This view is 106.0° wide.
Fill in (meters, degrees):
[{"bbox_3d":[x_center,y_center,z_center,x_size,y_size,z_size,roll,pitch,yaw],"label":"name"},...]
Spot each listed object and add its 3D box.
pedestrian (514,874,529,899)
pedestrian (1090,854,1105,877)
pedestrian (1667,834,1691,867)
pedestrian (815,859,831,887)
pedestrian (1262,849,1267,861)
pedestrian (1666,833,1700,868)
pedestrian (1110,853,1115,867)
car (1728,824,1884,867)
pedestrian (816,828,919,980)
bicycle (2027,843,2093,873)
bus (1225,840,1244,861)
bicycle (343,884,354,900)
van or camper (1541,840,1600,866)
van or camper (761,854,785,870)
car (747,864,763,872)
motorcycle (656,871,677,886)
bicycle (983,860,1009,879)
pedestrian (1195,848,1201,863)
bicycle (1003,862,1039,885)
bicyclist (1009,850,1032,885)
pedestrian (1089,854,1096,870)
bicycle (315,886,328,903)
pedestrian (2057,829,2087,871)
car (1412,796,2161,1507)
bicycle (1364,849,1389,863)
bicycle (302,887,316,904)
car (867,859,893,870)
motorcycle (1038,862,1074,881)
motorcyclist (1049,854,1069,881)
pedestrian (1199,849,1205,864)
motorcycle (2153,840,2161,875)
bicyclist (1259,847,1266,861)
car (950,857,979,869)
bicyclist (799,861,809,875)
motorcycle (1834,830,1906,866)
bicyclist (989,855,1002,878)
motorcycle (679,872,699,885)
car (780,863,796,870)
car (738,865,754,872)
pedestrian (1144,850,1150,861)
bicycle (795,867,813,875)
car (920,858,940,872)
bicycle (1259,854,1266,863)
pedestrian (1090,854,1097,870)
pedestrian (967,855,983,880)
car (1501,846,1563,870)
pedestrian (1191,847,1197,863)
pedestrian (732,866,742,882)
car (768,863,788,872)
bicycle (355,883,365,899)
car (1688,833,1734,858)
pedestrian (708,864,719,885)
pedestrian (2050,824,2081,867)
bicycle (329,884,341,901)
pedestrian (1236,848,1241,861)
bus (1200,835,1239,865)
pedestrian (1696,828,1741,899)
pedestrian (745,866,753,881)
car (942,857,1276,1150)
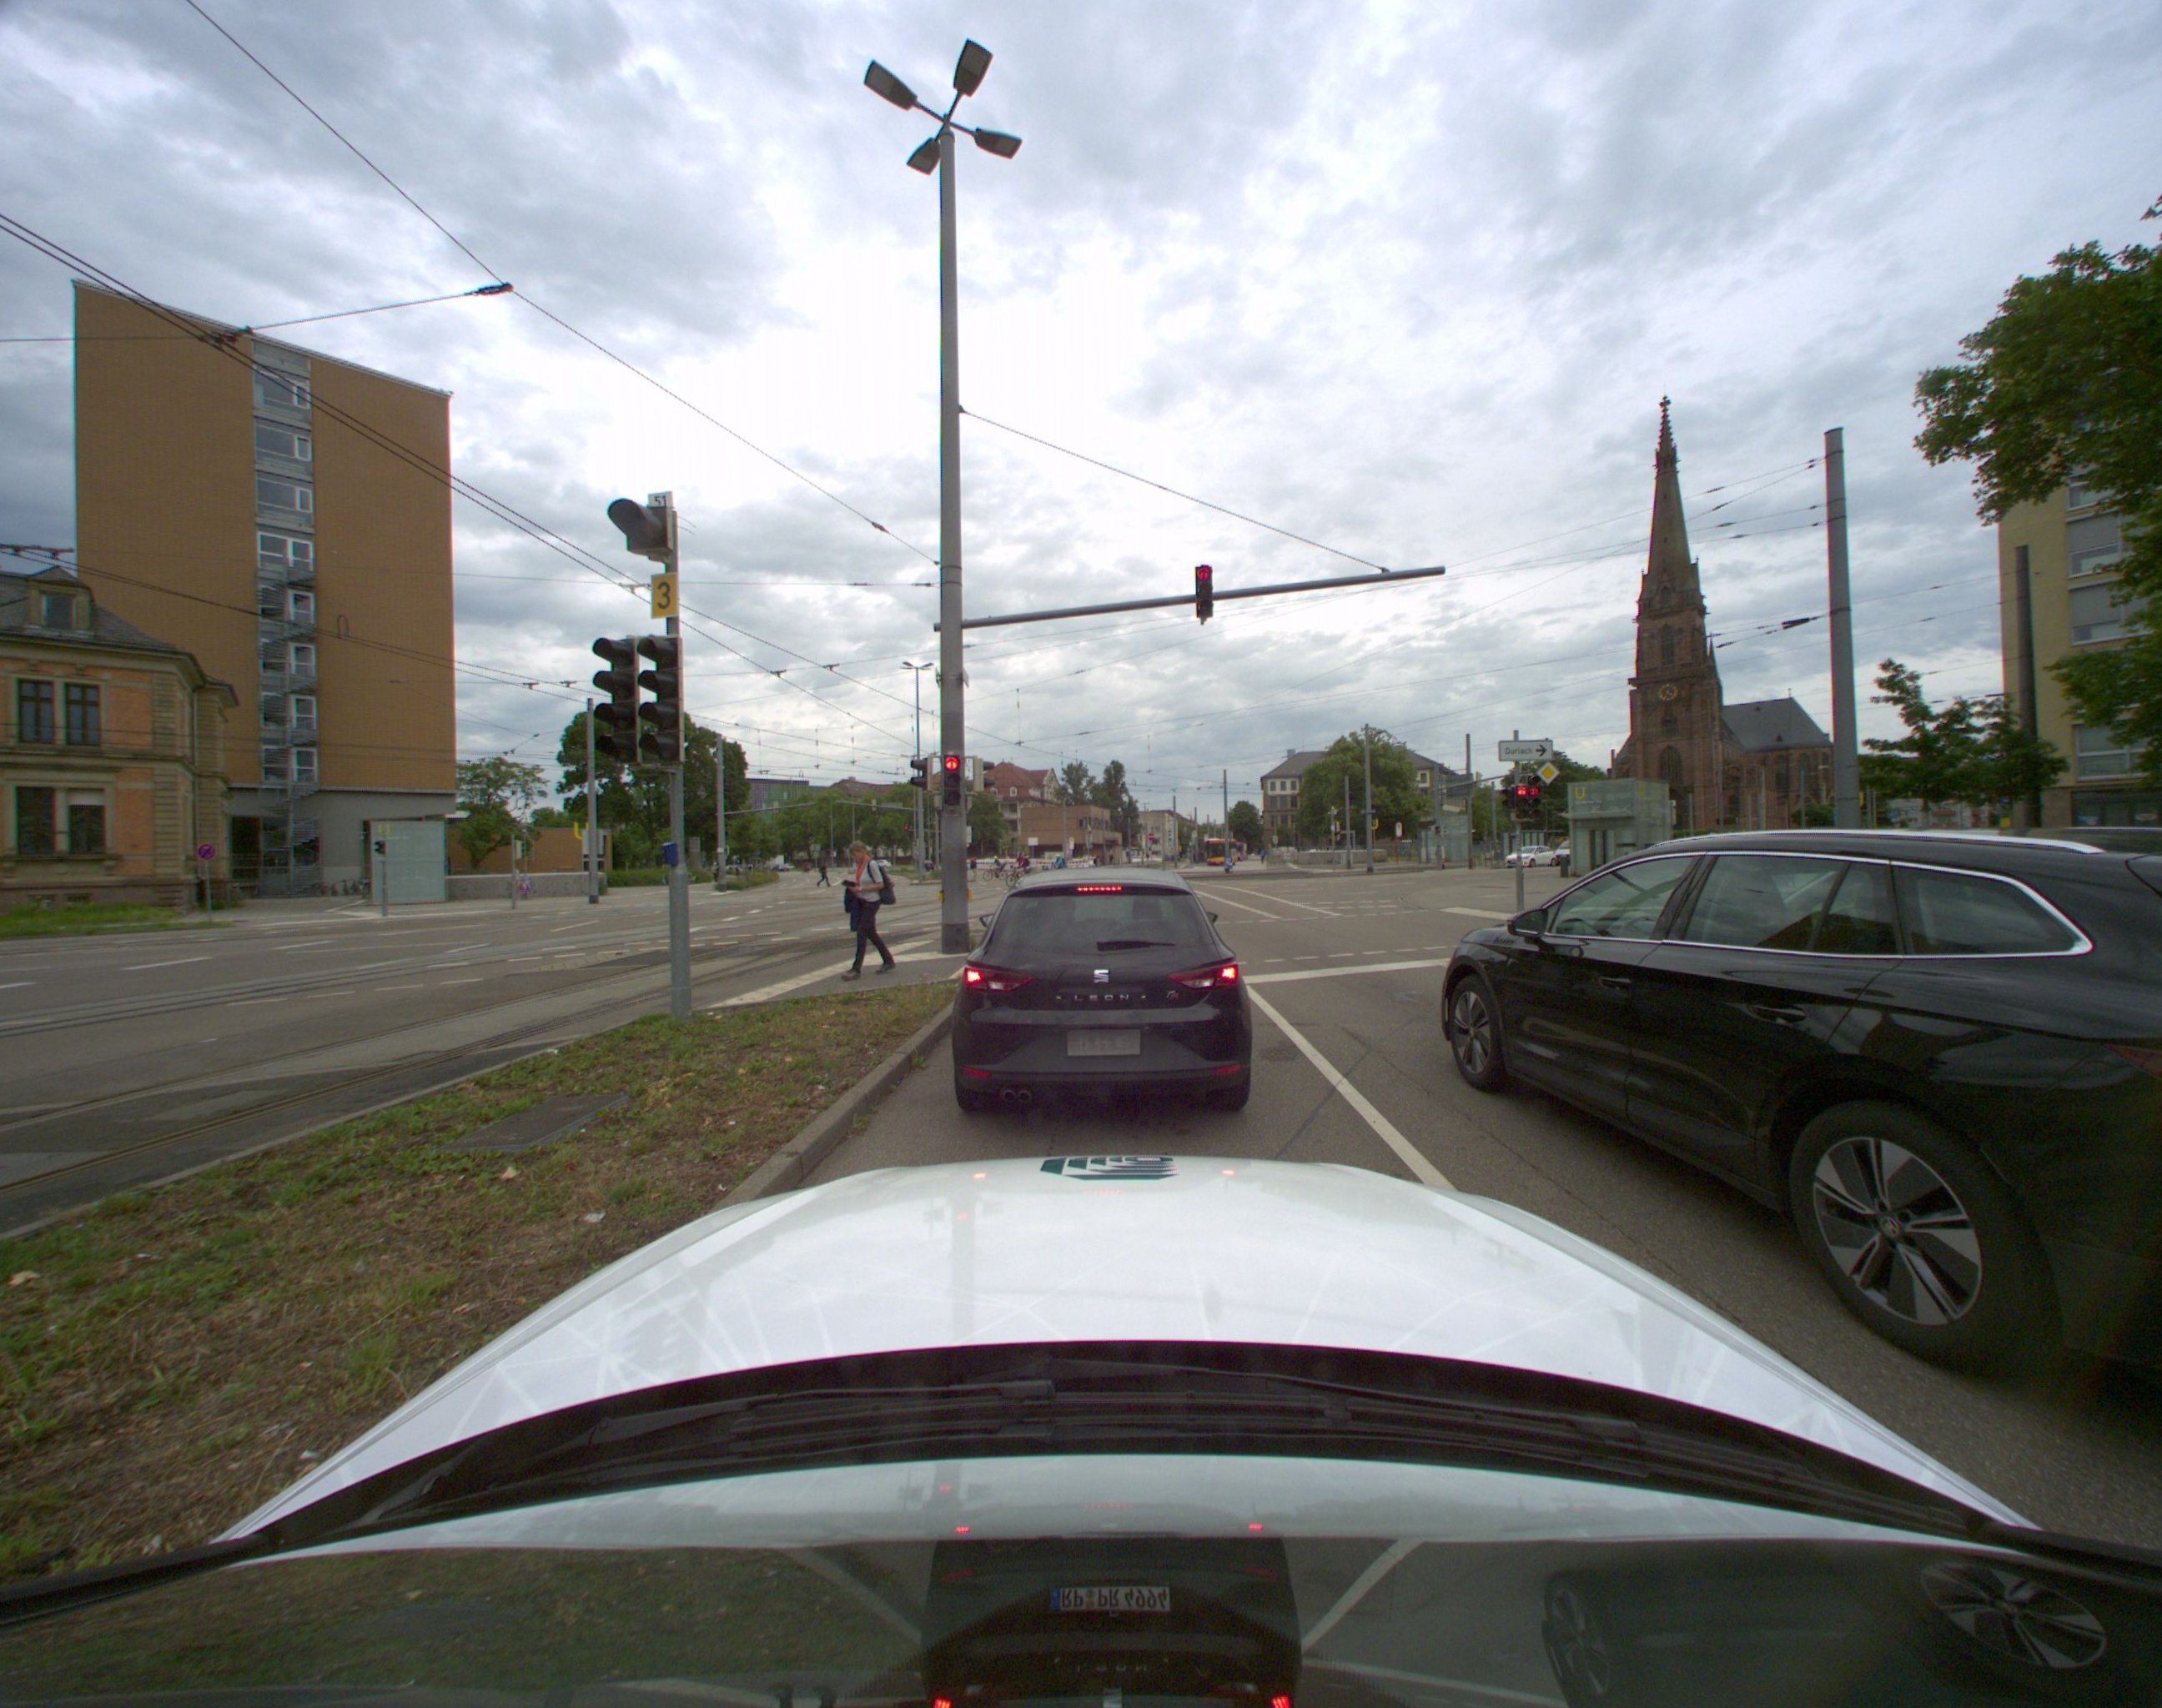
[{"bbox_3d":[-30.724,1.795,44.730,0.492,1.336,0.577,-2,-1,41],"label":"pedestrian"},{"bbox_3d":[1.411,0.975,69.565,0.692,1.934,1.037,-2,0,40],"label":"pedestrian"},{"bbox_3d":[29.891,-0.175,40.694,0.875,1.638,0.631,-1,0,-32],"label":"pedestrian"},{"bbox_3d":[-18.822,1.360,59.470,1.023,2.013,0.841,-1,0,-18],"label":"pedestrian"},{"bbox_3d":[30.585,0.226,135.454,0.659,2.013,0.692,-2,0,2],"label":"pedestrian"},{"bbox_3d":[31.087,-0.174,42.069,0.950,1.797,1.076,-1,-2,-33],"label":"pedestrian"},{"bbox_3d":[4.374,0.845,113.406,0.618,1.918,0.711,-2,0,5],"label":"pedestrian"},{"bbox_3d":[37.659,-0.399,42.518,5.672,2.014,2.038,-2,-2,19],"label":"car"},{"bbox_3d":[-2.834,0.628,10.822,1.110,1.907,0.727,0,-1,-41],"label":"pedestrian"},{"bbox_3d":[31.507,0.135,26.231,0.596,0.917,1.253,-1,0,-28],"label":"bicycle"},{"bbox_3d":[25.734,-0.601,136.285,2.635,3.283,11.034,-2,0,13],"label":"bus"},{"bbox_3d":[-50.652,2.625,56.285,0.512,1.049,1.411,-1,0,-41],"label":"bicycle"},{"bbox_3d":[35.274,-0.096,58.680,4.321,1.742,1.979,-1,-2,-34],"label":"van or camper"},{"bbox_3d":[-62.824,1.727,165.995,5.434,3.124,2.410,-2,0,43],"label":"van or camper"},{"bbox_3d":[-68.751,2.937,171.595,1.792,1.464,3.951,-1,0,-44],"label":"car"},{"bbox_3d":[-35.445,2.080,69.602,1.481,1.268,0.505,-1,0,-44],"label":"motorcycle"},{"bbox_3d":[-6.238,1.123,59.780,1.733,1.321,0.642,-1,0,-16],"label":"bicycle"},{"bbox_3d":[15.161,0.238,105.478,0.618,1.918,0.711,-2,0,5],"label":"pedestrian"},{"bbox_3d":[-3.339,1.088,45.504,0.767,1.184,2.045,-2,0,37],"label":"bicycle"},{"bbox_3d":[-3.382,0.767,45.470,0.768,1.898,1.003,-2,0,37],"label":"bicyclist"},{"bbox_3d":[1.351,0.933,96.730,0.704,1.918,0.625,-2,0,9],"label":"pedestrian"},{"bbox_3d":[-51.640,2.774,55.364,0.575,1.106,1.411,-1,0,-41],"label":"bicycle"},{"bbox_3d":[39.703,-0.162,32.636,0.875,1.638,0.631,-1,0,-32],"label":"pedestrian"},{"bbox_3d":[3.323,0.651,3.771,1.771,1.597,4.510,-1,0,1],"label":"car"},{"bbox_3d":[29.658,0.175,81.726,2.248,1.331,0.709,-2,-2,9],"label":"bicycle"},{"bbox_3d":[-52.087,2.773,54.958,0.575,1.106,1.411,-1,0,-41],"label":"bicycle"},{"bbox_3d":[-35.019,1.829,141.900,3.965,1.772,1.720,-2,0,7],"label":"car"},{"bbox_3d":[-1.574,1.117,51.386,2.149,1.139,0.737,-1,0,-31],"label":"motorcycle"},{"bbox_3d":[-1.413,0.857,51.483,0.984,1.649,0.742,-1,-1,-31],"label":"motorcyclist"},{"bbox_3d":[15.544,0.332,104.402,0.617,1.918,0.701,-2,0,11],"label":"pedestrian"},{"bbox_3d":[31.796,0.080,23.537,1.020,0.997,0.863,-1,0,-43],"label":"motorcycle"},{"bbox_3d":[23.713,-0.026,106.341,0.865,1.851,1.052,-2,0,14],"label":"bicyclist"},{"bbox_3d":[-17.691,1.357,123.664,3.970,1.684,2.001,-2,-1,3],"label":"car"},{"bbox_3d":[-40.515,1.998,119.243,0.929,2.013,0.983,-2,0,21],"label":"bicyclist"},{"bbox_3d":[26.951,-0.216,27.812,2.386,1.168,0.762,-1,0,-19],"label":"motorcycle"},{"bbox_3d":[-6.272,0.940,59.787,0.855,1.673,0.651,-1,0,-14],"label":"bicyclist"},{"bbox_3d":[-34.417,2.164,71.507,0.506,1.111,1.751,-2,0,15],"label":"motorcycle"},{"bbox_3d":[-60.805,2.640,169.085,1.791,1.464,3.953,-1,0,-40],"label":"car"},{"bbox_3d":[-73.817,3.089,179.403,3.949,1.464,1.792,-1,0,43],"label":"car"},{"bbox_3d":[11.210,0.295,137.941,0.615,1.918,0.715,-3,-2,27],"label":"pedestrian"},{"bbox_3d":[-40.494,2.463,119.206,0.931,1.179,2.744,-2,0,21],"label":"bicycle"},{"bbox_3d":[-19.568,1.376,105.424,2.000,1.684,3.973,-1,-1,-20],"label":"car"},{"bbox_3d":[23.686,0.626,106.180,0.859,1.104,2.310,-1,0,14],"label":"bicycle"},{"bbox_3d":[1.508,0.946,97.522,0.704,1.918,0.625,-2,0,9],"label":"pedestrian"},{"bbox_3d":[-8.188,1.032,63.078,1.032,1.934,0.695,-2,0,-24],"label":"pedestrian"},{"bbox_3d":[30.377,0.263,54.805,4.011,1.464,1.758,-1,-2,-30],"label":"car"},{"bbox_3d":[14.398,0.118,103.808,0.617,1.918,0.701,-2,0,11],"label":"pedestrian"},{"bbox_3d":[-44.935,2.603,106.366,0.875,1.981,0.796,-2,-2,1],"label":"pedestrian"},{"bbox_3d":[-53.860,2.398,144.891,1.792,1.464,3.950,-1,0,-45],"label":"car"},{"bbox_3d":[-50.239,2.594,56.724,0.484,1.049,1.411,-1,0,-41],"label":"bicycle"},{"bbox_3d":[53.570,-0.735,69.191,4.017,2.013,1.978,-1,0,-36],"label":"car"},{"bbox_3d":[-34.911,1.935,77.299,0.799,1.981,0.872,-1,-2,-33],"label":"pedestrian"},{"bbox_3d":[38.258,-0.344,31.650,0.875,1.638,0.631,-1,0,-31],"label":"pedestrian"},{"bbox_3d":[-51.156,2.634,55.840,0.575,1.106,1.411,-1,0,-41],"label":"bicycle"},{"bbox_3d":[24.121,0.117,124.721,0.659,2.013,0.692,-2,0,2],"label":"pedestrian"},{"bbox_3d":[15.966,-0.437,93.274,2.938,3.123,11.589,-2,0,16],"label":"bus"},{"bbox_3d":[17.715,0.259,22.626,0.878,1.930,1.023,-1,0,43],"label":"pedestrian"},{"bbox_3d":[-42.843,2.508,105.154,0.880,1.981,0.791,-1,-2,-17],"label":"pedestrian"},{"bbox_3d":[0.090,0.771,6.108,1.700,1.449,3.809,-1,0,-2],"label":"car"}]
